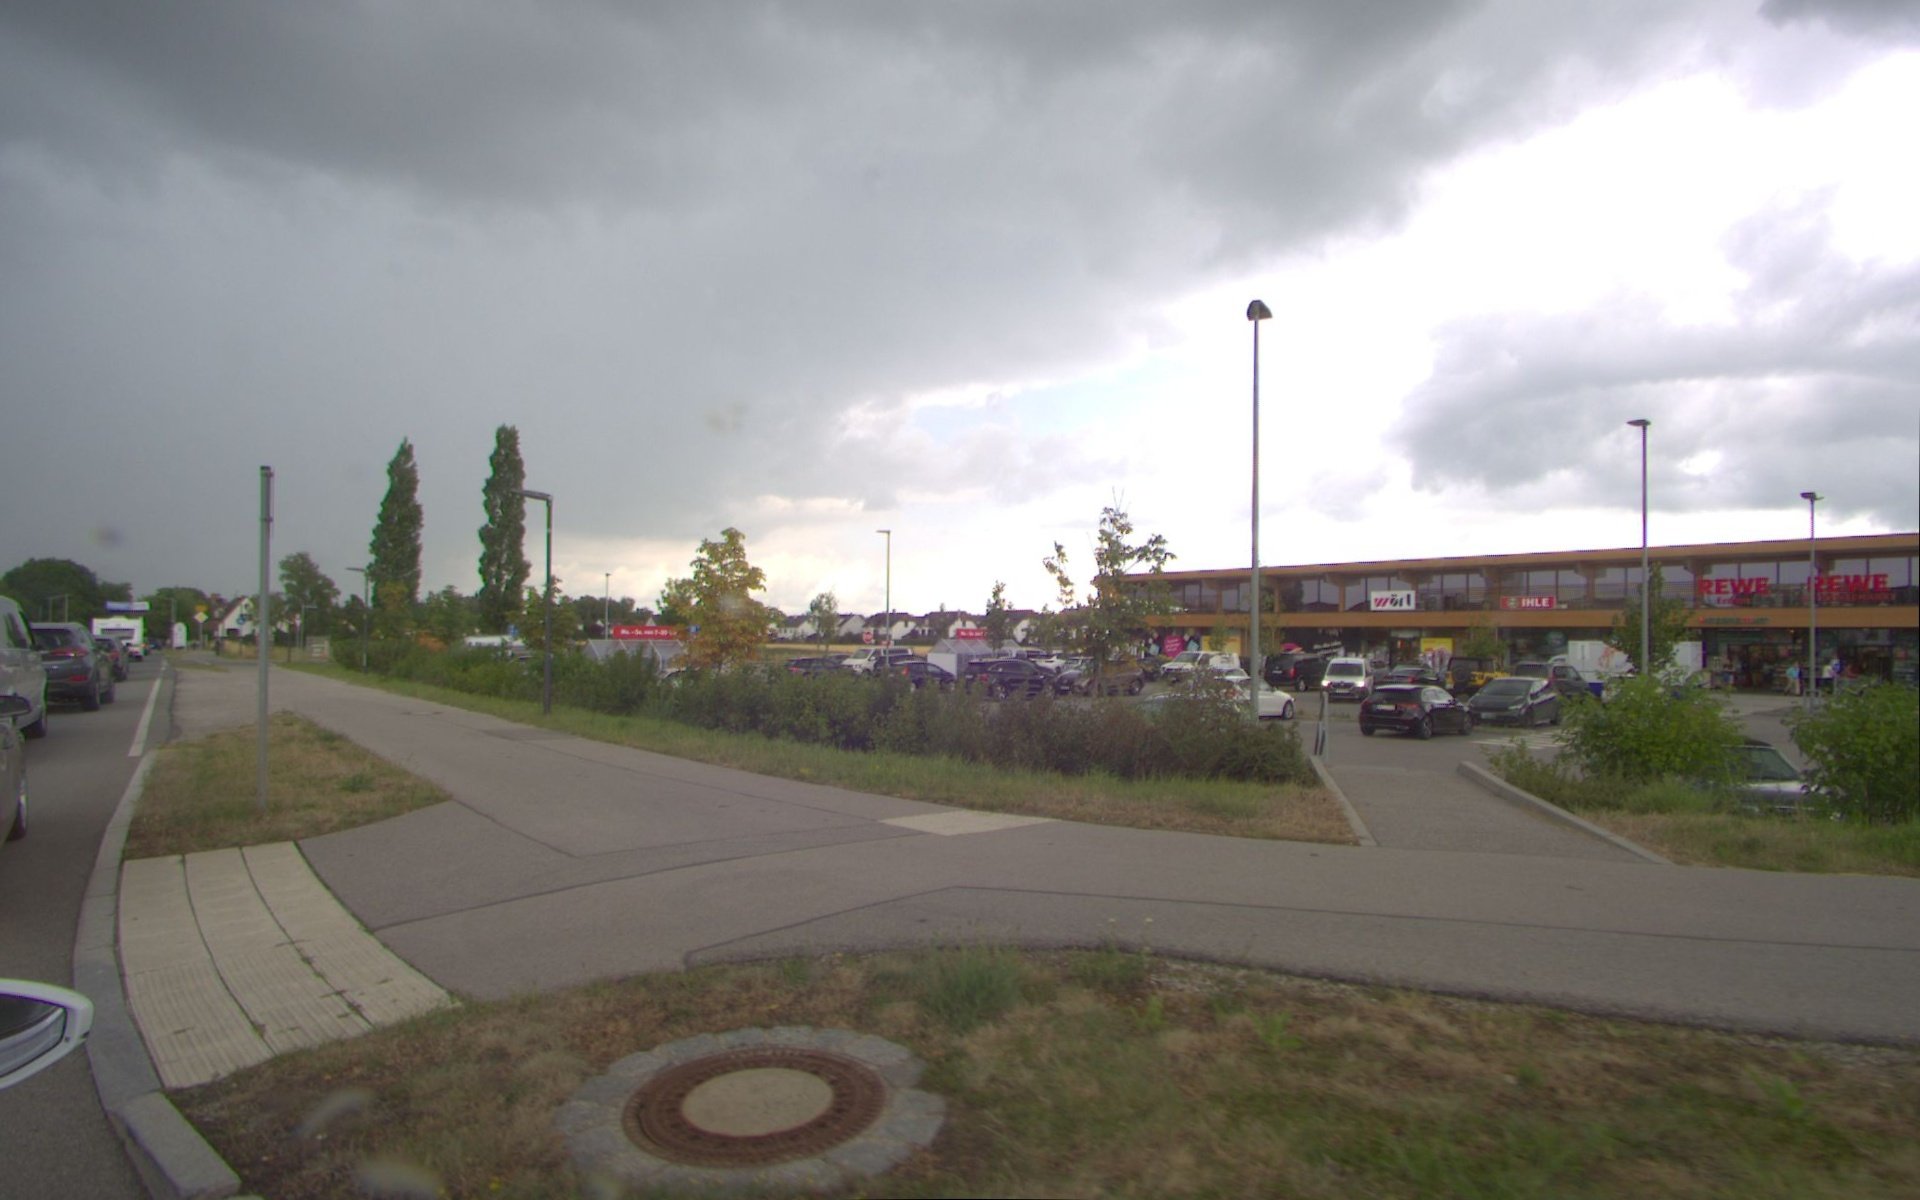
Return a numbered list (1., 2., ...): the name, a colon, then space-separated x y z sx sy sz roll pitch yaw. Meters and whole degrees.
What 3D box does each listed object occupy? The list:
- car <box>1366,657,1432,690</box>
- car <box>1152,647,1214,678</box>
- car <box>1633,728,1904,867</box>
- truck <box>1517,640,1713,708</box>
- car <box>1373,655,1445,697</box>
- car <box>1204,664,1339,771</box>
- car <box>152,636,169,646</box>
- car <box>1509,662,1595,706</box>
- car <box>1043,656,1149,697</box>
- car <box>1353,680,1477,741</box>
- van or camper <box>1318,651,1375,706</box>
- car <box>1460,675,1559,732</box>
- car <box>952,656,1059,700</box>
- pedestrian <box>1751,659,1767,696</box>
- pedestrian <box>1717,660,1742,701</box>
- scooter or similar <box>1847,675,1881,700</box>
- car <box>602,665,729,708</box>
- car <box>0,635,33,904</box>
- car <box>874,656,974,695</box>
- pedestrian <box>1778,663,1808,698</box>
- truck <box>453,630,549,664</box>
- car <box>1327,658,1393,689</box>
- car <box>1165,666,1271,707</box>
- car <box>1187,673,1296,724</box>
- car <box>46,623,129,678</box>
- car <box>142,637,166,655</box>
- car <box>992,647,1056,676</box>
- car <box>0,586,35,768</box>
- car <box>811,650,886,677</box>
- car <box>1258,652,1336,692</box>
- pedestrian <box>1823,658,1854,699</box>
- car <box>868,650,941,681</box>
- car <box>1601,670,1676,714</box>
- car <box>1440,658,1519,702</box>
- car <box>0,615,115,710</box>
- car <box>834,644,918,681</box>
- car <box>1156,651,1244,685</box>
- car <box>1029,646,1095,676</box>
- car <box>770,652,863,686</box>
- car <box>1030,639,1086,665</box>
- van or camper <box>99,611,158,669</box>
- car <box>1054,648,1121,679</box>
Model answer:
1. car: 23.390 3.869 53.328 3.854 1.674 1.752 3 -4 -41
2. car: 14.385 4.000 64.446 4.071 1.917 1.783 2 -3 -40
3. car: 11.256 2.674 14.282 1.551 1.389 3.732 0 -3 14
4. truck: 30.328 3.324 46.606 2.948 2.842 7.190 2 -3 -43
5. car: 21.267 3.561 47.411 3.962 1.878 1.756 3 -3 -43
6. car: 4.376 1.573 14.051 1.551 1.221 3.754 1 -4 18
7. car: -100.209 5.143 125.552 1.600 1.288 3.436 2 -3 -37
8. car: 24.902 3.479 42.069 4.076 1.746 1.837 3 -4 -40
9. car: 6.225 3.433 45.566 4.935 1.685 1.984 2 -3 -39
10. car: 12.776 3.028 28.006 3.961 1.416 1.819 2 -3 -44
11. van or camper: 16.452 3.252 42.448 1.738 2.124 4.789 0 -2 27
12. car: 17.487 3.232 31.795 3.963 1.573 1.715 3 -3 -44
13. car: 1.955 3.256 41.946 4.416 1.727 1.789 3 -4 -39
14. pedestrian: 44.223 4.286 55.430 0.569 1.973 0.524 0 -1 22
15. pedestrian: 38.948 4.048 50.676 0.922 2.039 0.799 -1 -2 43
16. scooter or similar: 43.217 4.200 47.901 0.986 1.140 0.792 1 -4 23
17. car: -11.147 3.237 37.963 4.199 1.458 1.985 2 -3 -39
18. car: -6.185 0.898 5.242 1.771 1.409 4.097 1 -2 -40
19. car: -1.668 3.477 46.839 4.368 1.685 1.984 2 -2 -39
20. pedestrian: 40.413 3.910 48.597 0.736 1.678 0.805 1 -1 -6
21. truck: -27.102 2.790 59.177 4.766 1.895 1.982 3 -4 -43
22. car: 21.982 4.021 54.961 4.184 1.632 1.752 3 -4 -42
23. car: 10.755 3.541 41.568 4.736 1.503 1.889 3 -3 -39
24. car: 9.287 3.187 32.889 3.958 1.503 1.667 4 -4 -43
25. car: -27.372 1.567 31.525 1.762 1.638 3.969 1 -2 -38
26. car: -75.554 4.268 93.871 1.600 1.651 3.589 2 -3 -37
27. car: 4.284 4.134 67.299 3.951 1.861 1.987 2 -3 -36
28. car: -12.235 0.828 11.730 1.854 1.958 3.965 3 -3 -41
29. car: -6.855 3.923 61.830 4.275 1.597 1.755 2 -3 -37
30. car: 17.416 3.727 51.722 3.958 1.860 1.984 6 -5 -39
31. pedestrian: 42.359 3.793 48.301 0.913 1.921 0.792 1 -3 23
32. car: -3.151 3.733 57.220 3.956 1.727 1.702 3 -3 -39
33. car: 27.004 3.595 39.808 3.963 1.549 1.715 3 -3 -44
34. car: 23.322 3.541 44.901 3.956 1.877 1.758 3 -3 -39
35. car: -17.357 1.143 19.059 1.762 1.638 3.969 2 -3 -38
36. car: -4.988 3.698 60.009 1.977 2.040 5.085 0 -1 41
37. car: 13.366 3.761 55.598 5.245 1.853 1.985 3 -4 -39
38. car: 6.629 3.972 65.066 3.950 1.861 1.987 2 -2 -35
39. car: -7.607 3.650 53.245 4.520 1.685 1.984 2 -2 -39
40. car: 7.269 3.876 74.249 3.950 1.863 1.862 2 -3 -35
41. van or camper: -51.340 2.513 61.979 2.604 3.364 6.769 2 -4 -39
42. car: 8.033 3.998 63.080 3.952 1.860 1.986 3 -3 -36
